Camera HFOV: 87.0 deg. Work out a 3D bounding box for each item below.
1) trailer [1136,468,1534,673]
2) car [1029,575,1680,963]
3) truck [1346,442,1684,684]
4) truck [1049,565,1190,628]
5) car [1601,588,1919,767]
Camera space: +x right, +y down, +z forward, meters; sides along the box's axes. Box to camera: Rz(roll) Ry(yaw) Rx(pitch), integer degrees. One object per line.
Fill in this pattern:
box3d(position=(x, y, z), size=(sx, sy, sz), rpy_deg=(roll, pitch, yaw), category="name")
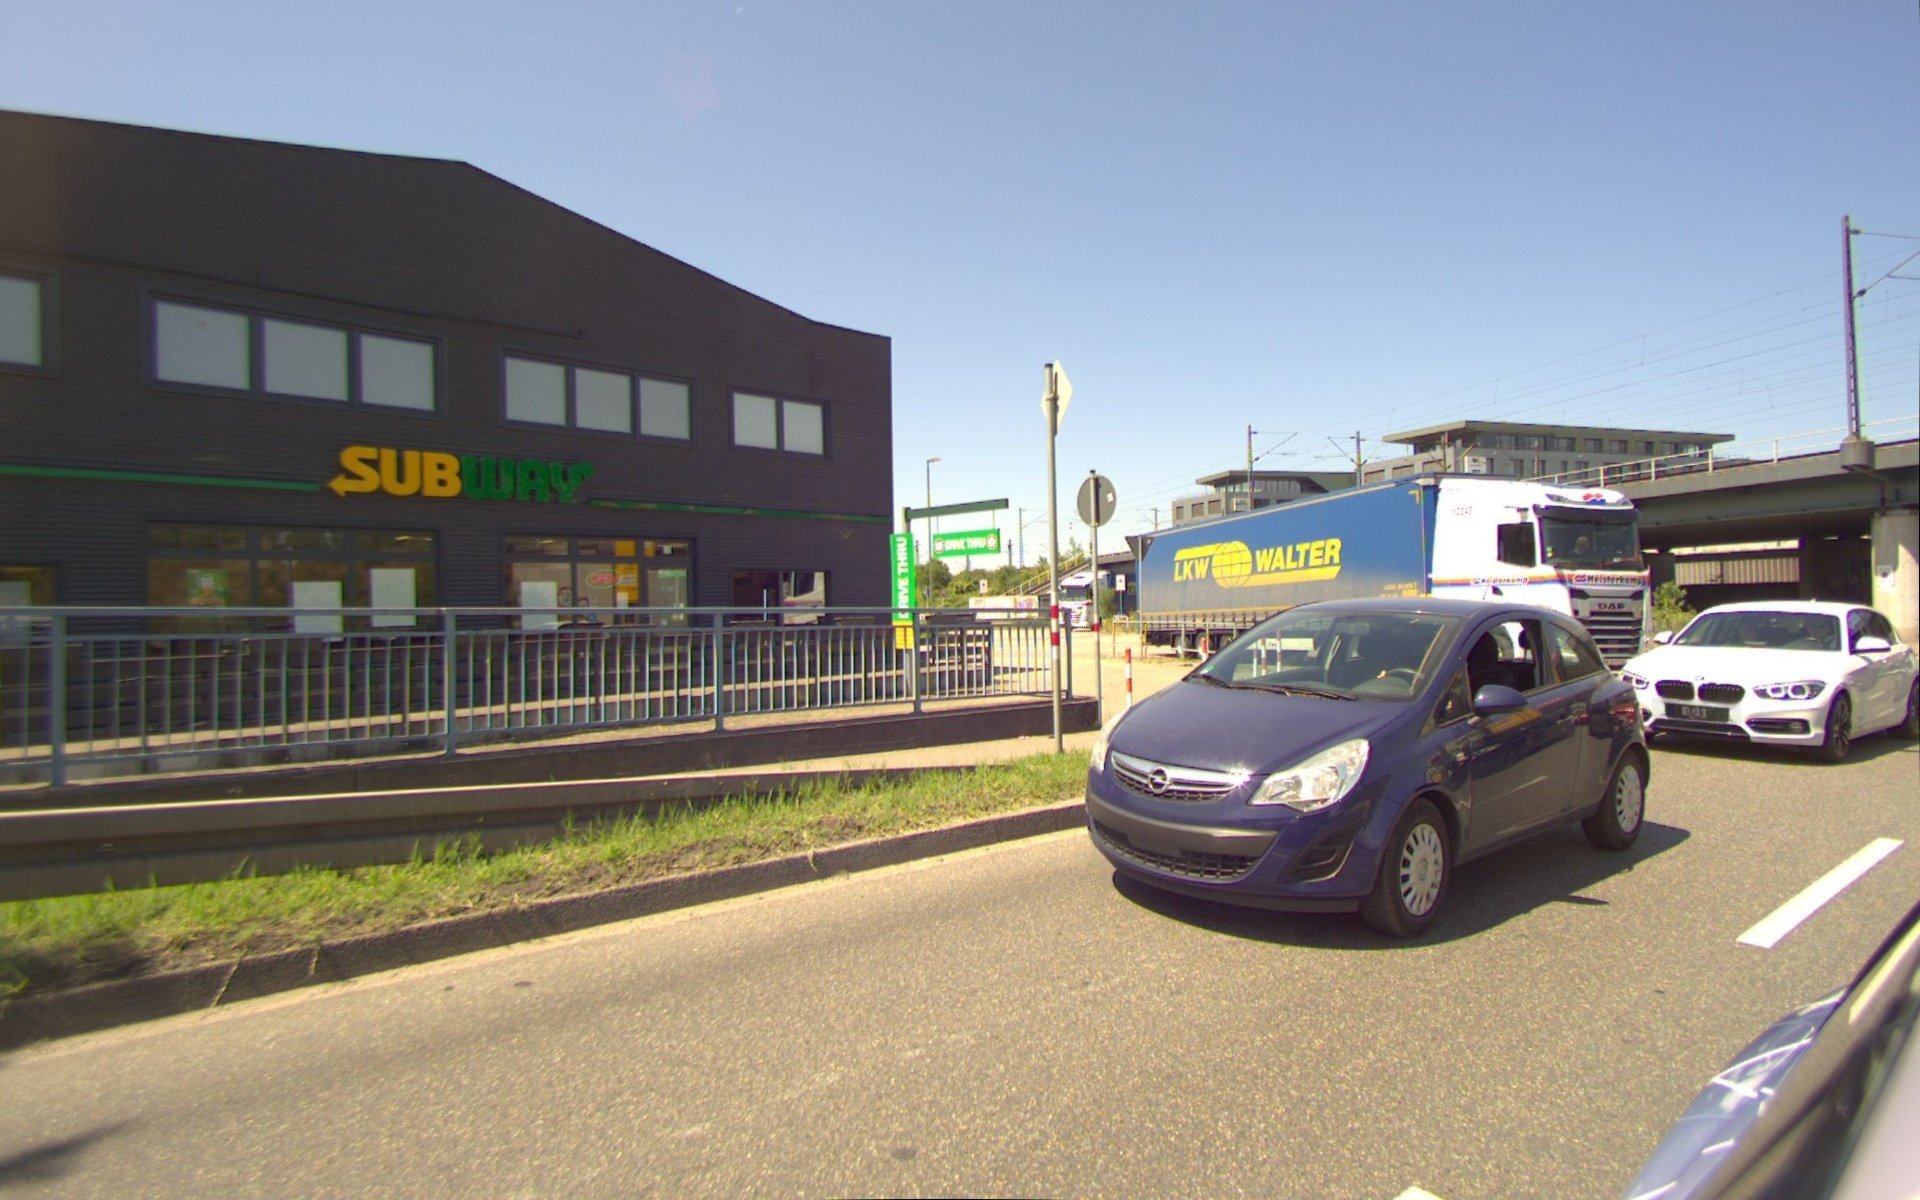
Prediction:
box3d(position=(8.948, -0.533, 27.549), size=(2.448, 4.142, 13.931), rpy_deg=(-1, -1, -15), category="trailer")
box3d(position=(2.363, 0.647, 5.650), size=(3.819, 1.462, 1.650), rpy_deg=(0, 0, -37), category="car")
box3d(position=(10.878, -0.670, 20.549), size=(2.522, 4.153, 5.774), rpy_deg=(-1, 0, -19), category="truck")
box3d(position=(12.229, -0.338, 74.885), size=(2.736, 4.155, 17.214), rpy_deg=(-1, 0, 36), category="truck")
box3d(position=(8.426, 0.635, 10.364), size=(3.976, 1.461, 1.764), rpy_deg=(0, 2, -35), category="car")
